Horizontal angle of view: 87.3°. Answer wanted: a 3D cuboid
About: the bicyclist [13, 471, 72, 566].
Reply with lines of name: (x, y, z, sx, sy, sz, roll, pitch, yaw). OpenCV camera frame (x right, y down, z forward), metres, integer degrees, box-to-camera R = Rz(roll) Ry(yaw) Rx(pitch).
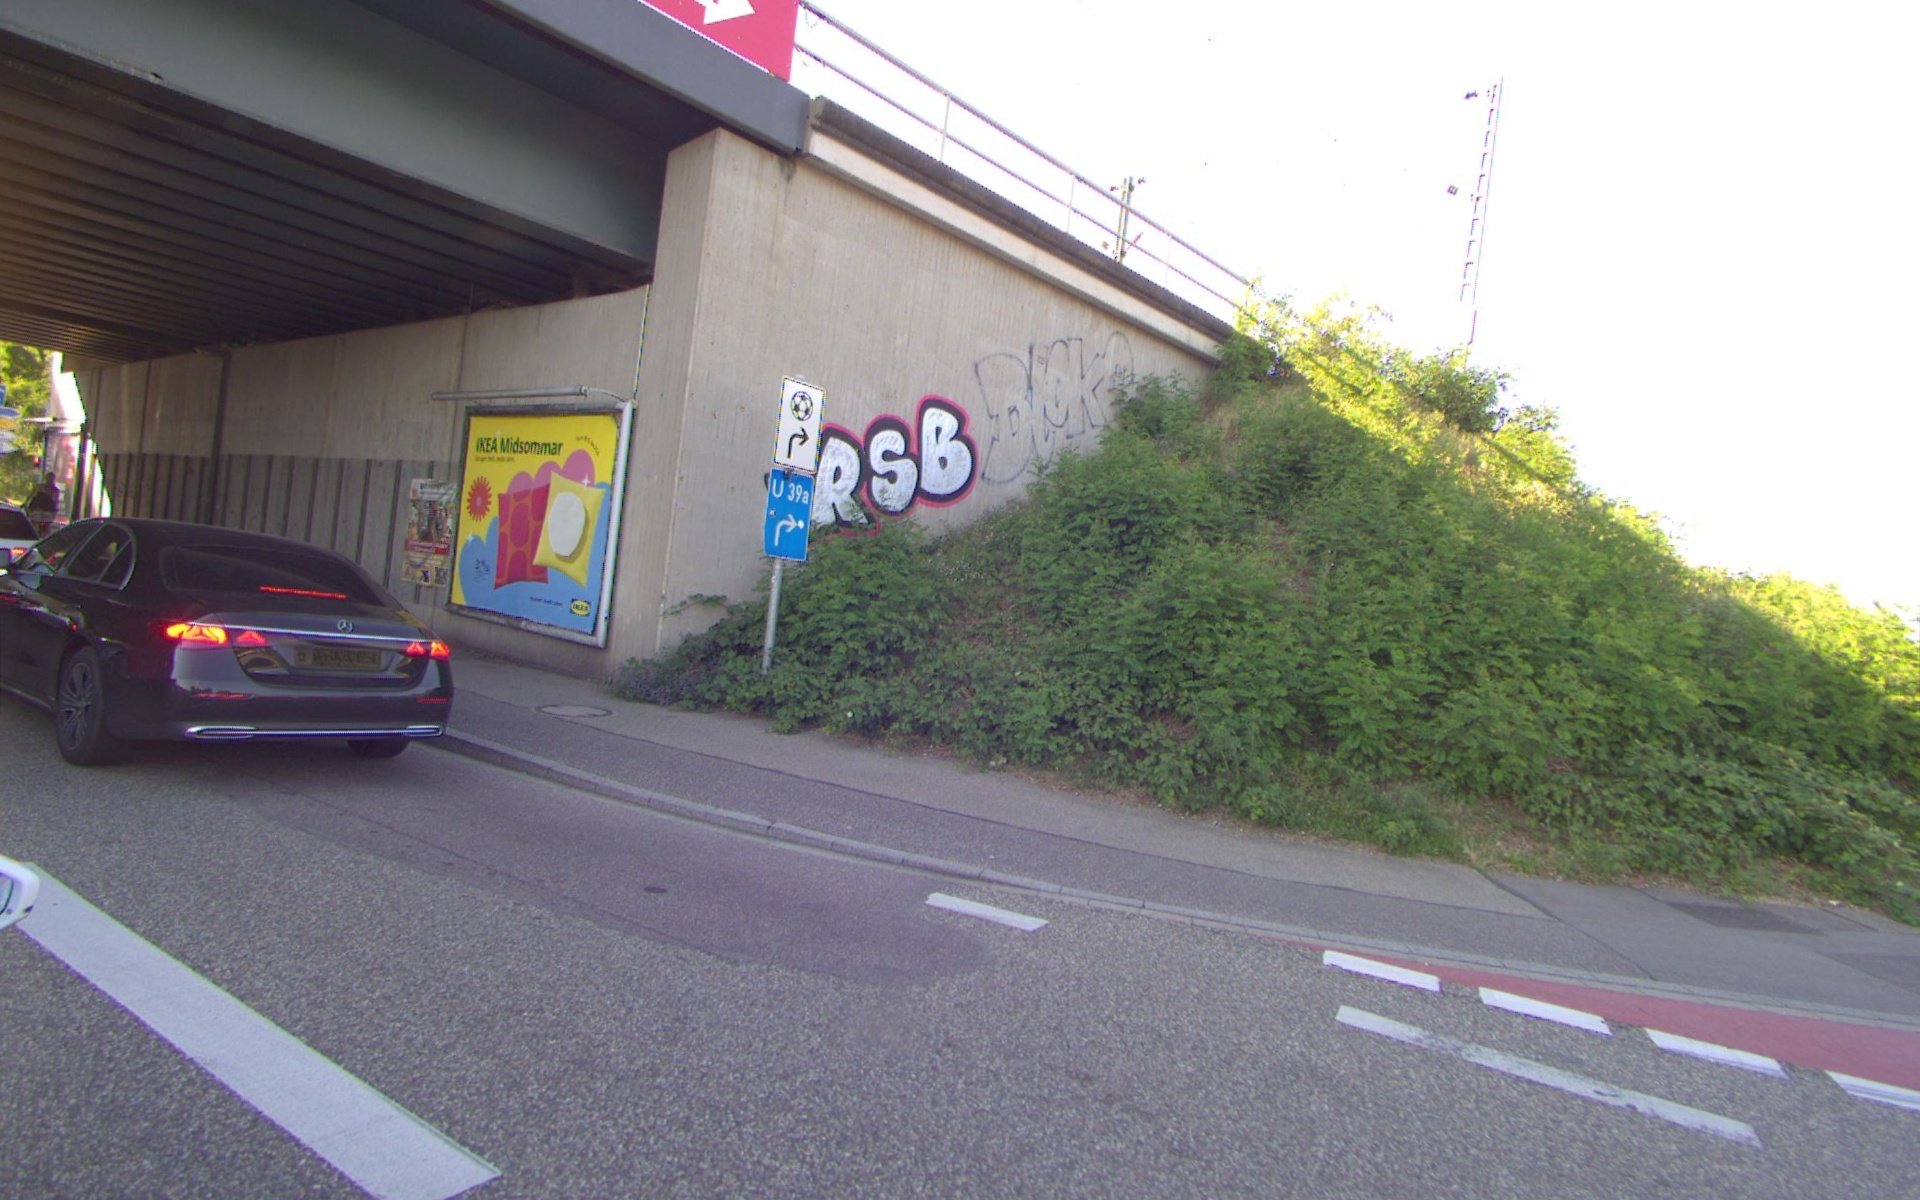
bicyclist: (-19.737, -1.754, 21.637, 0.821, 1.930, 0.681, 6, 0, 38)

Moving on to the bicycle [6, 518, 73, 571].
bicycle: (-19.833, -1.216, 21.653, 2.844, 0.975, 0.578, 5, -1, 39)

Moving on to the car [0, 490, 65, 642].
car: (-11.415, -0.516, 10.840, 3.772, 1.514, 1.772, 6, 0, 35)

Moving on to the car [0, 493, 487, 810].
car: (-5.556, 0.173, 7.128, 4.530, 1.472, 1.743, 8, 0, 33)
